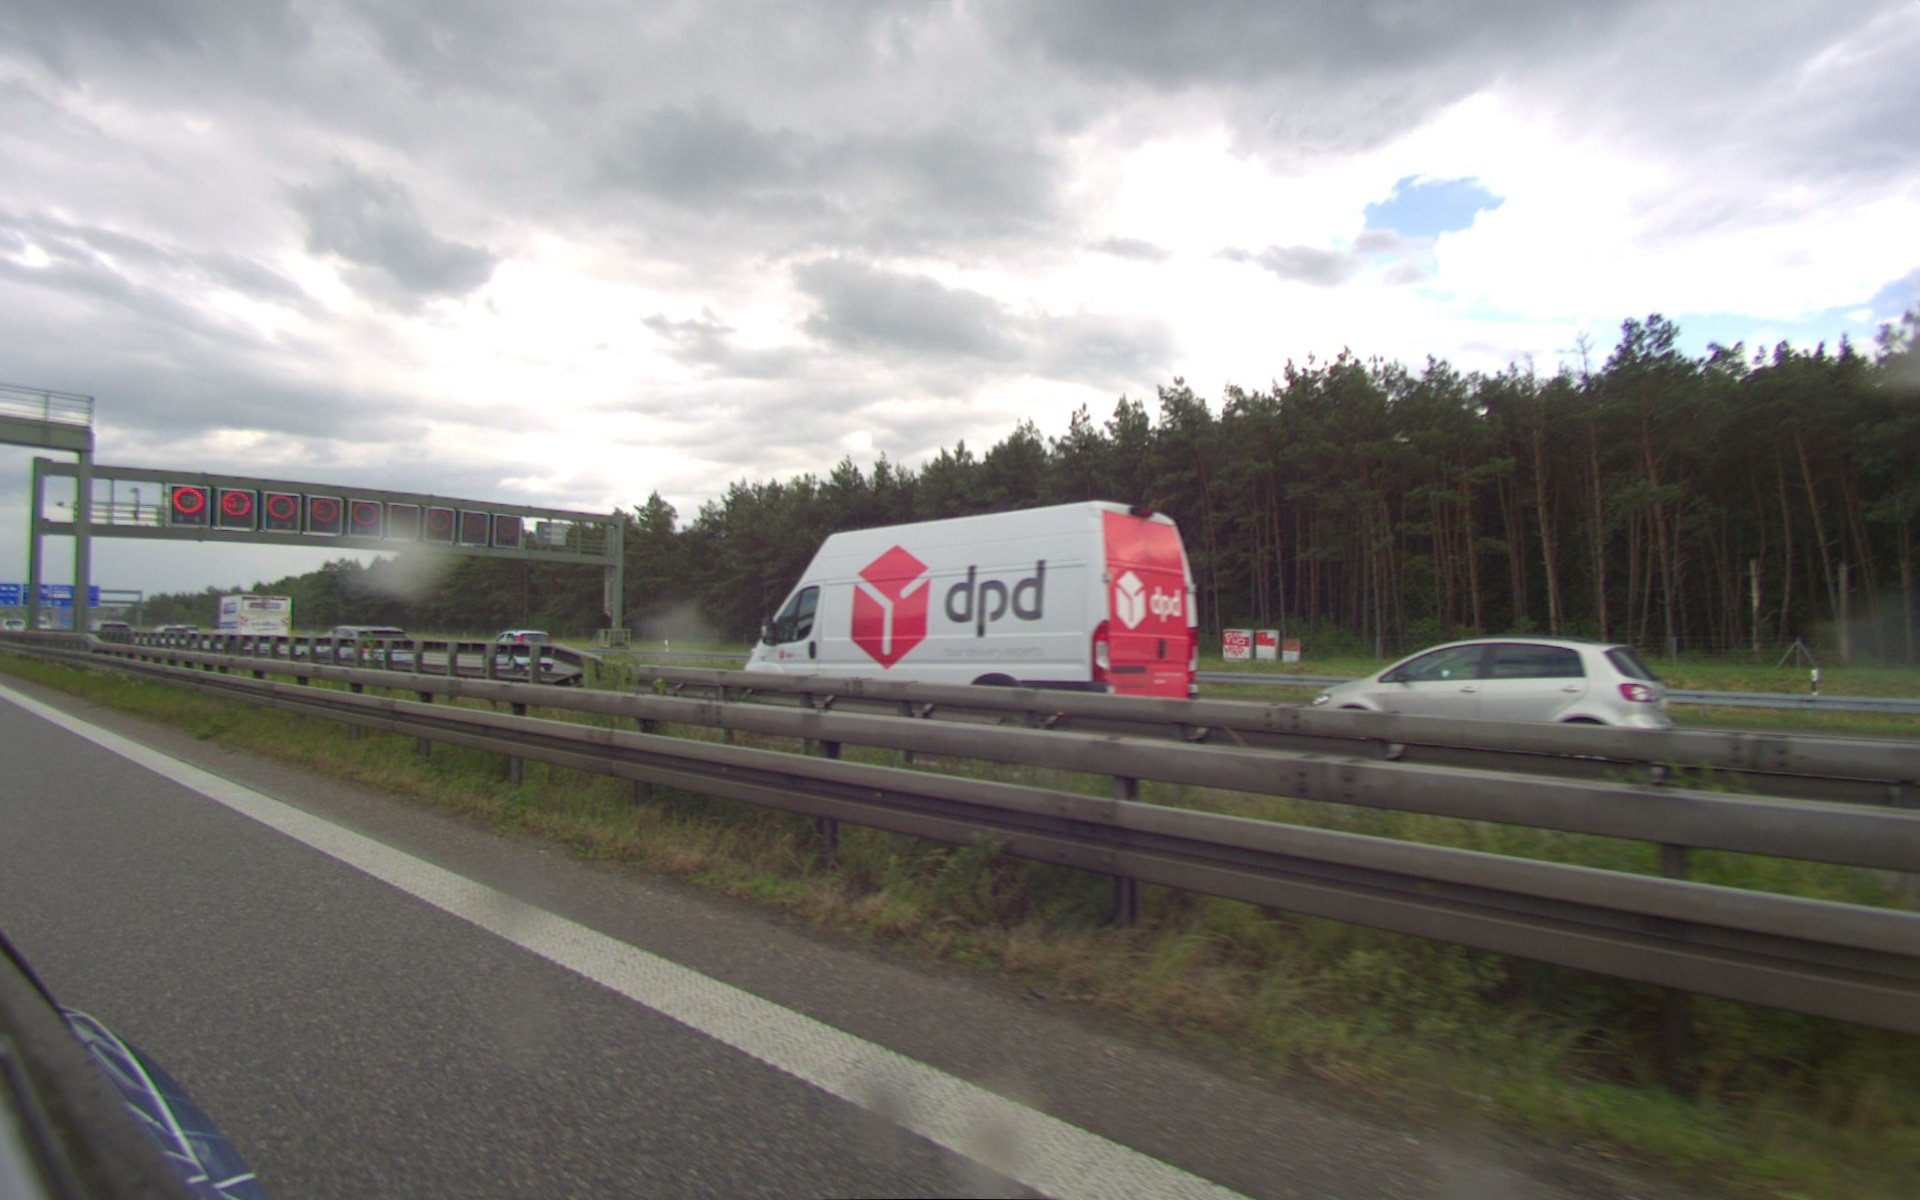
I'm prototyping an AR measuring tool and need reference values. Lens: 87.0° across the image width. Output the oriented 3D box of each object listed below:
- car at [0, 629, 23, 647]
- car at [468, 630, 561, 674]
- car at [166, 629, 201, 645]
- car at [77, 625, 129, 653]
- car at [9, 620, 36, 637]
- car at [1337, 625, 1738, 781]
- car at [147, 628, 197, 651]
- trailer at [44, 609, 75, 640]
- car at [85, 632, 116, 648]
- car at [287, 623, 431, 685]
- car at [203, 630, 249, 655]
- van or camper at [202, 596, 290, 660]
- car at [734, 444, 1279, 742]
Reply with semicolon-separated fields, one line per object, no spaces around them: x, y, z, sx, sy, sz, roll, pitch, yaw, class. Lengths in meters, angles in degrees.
-99.299;3.986;105.500;4.895;1.882;1.878;-2;-3;42;car
-17.287;1.970;39.202;4.153;1.608;1.705;-1;-2;41;car
-62.883;2.963;81.933;3.840;1.267;1.608;-1;-1;42;car
-48.183;2.171;56.878;3.998;1.526;1.676;-1;-2;41;car
-118.666;3.665;128.090;6.741;2.029;2.258;-2;0;45;car
6.896;1.107;12.352;3.953;1.591;1.733;-1;-2;43;car
-48.981;2.449;62.880;3.998;1.386;1.725;-2;-2;42;car
-128.978;3.500;144.864;14.627;4.273;2.075;-1;0;44;trailer
-81.811;3.818;96.284;4.561;1.471;1.654;-1;-2;42;car
-16.404;1.413;27.504;5.318;1.542;1.848;-1;-2;42;car
-43.211;2.490;59.543;3.703;1.386;1.479;-2;-2;43;car
-37.065;1.479;52.442;7.544;3.136;2.275;-2;-3;44;van or camper
0.184;0.017;12.130;6.670;2.682;2.110;-1;-2;41;car
